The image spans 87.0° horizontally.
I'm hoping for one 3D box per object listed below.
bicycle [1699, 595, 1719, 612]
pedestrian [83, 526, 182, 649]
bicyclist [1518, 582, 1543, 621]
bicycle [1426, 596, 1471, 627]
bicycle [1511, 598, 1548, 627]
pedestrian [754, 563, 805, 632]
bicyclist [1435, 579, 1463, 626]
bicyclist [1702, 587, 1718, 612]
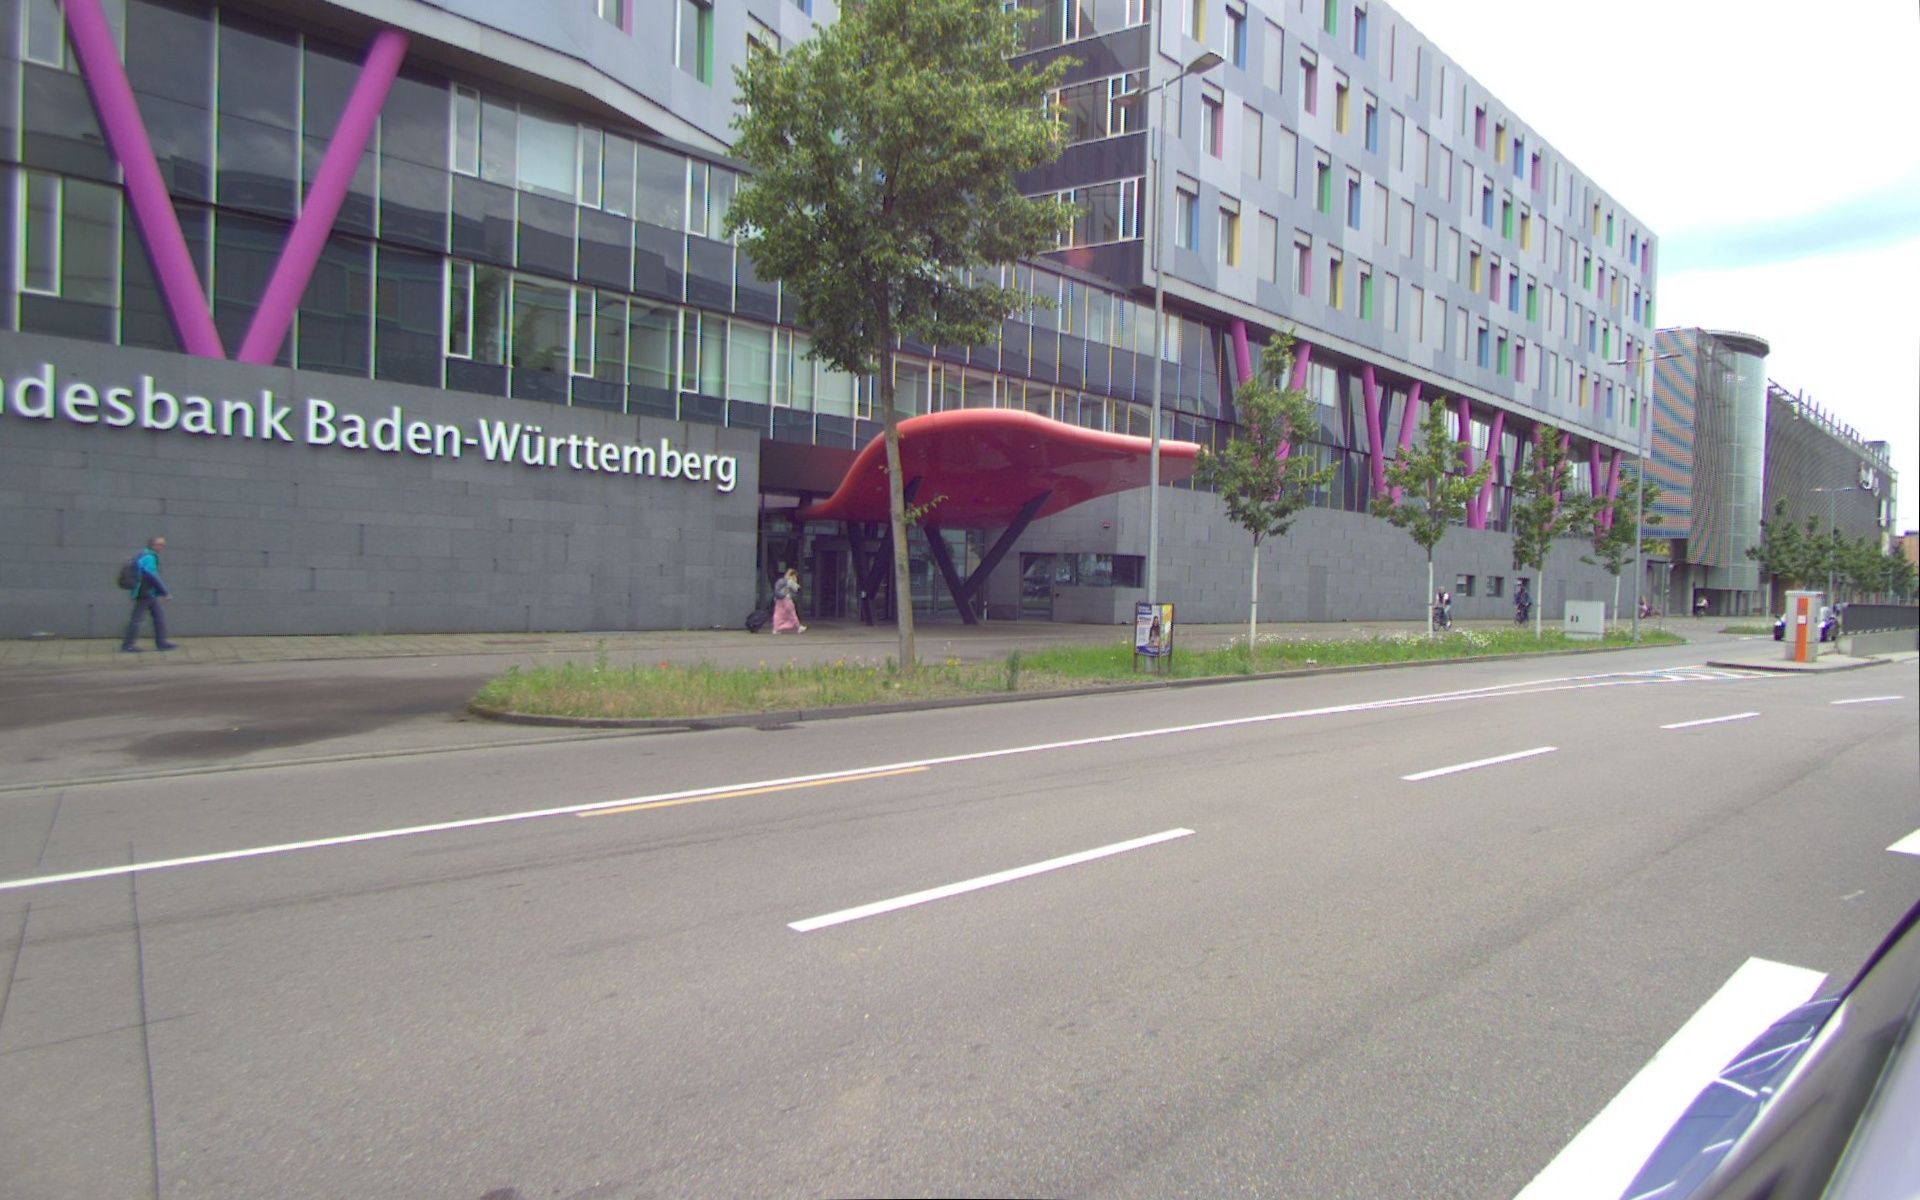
[{"bbox_3d":[55.115,0.288,74.468,2.184,1.209,0.783,1,1,-44],"label":"bicycle"},{"bbox_3d":[-12.655,-0.192,15.495,1.116,1.792,1.054,1,1,-40],"label":"pedestrian"},{"bbox_3d":[26.964,0.070,47.815,0.692,1.826,0.783,6,-3,-41],"label":"bicyclist"},{"bbox_3d":[19.470,0.472,40.335,2.304,1.173,0.800,2,0,-42],"label":"bicycle"},{"bbox_3d":[26.846,0.600,47.715,2.303,1.173,0.800,6,-3,-42],"label":"bicycle"},{"bbox_3d":[-4.353,-0.064,24.353,0.898,1.602,0.786,1,1,-40],"label":"pedestrian"},{"bbox_3d":[19.476,0.095,40.333,0.692,1.825,0.783,2,-1,-41],"label":"bicyclist"},{"bbox_3d":[55.285,-0.034,74.632,0.958,1.809,0.771,1,1,-45],"label":"bicyclist"}]
